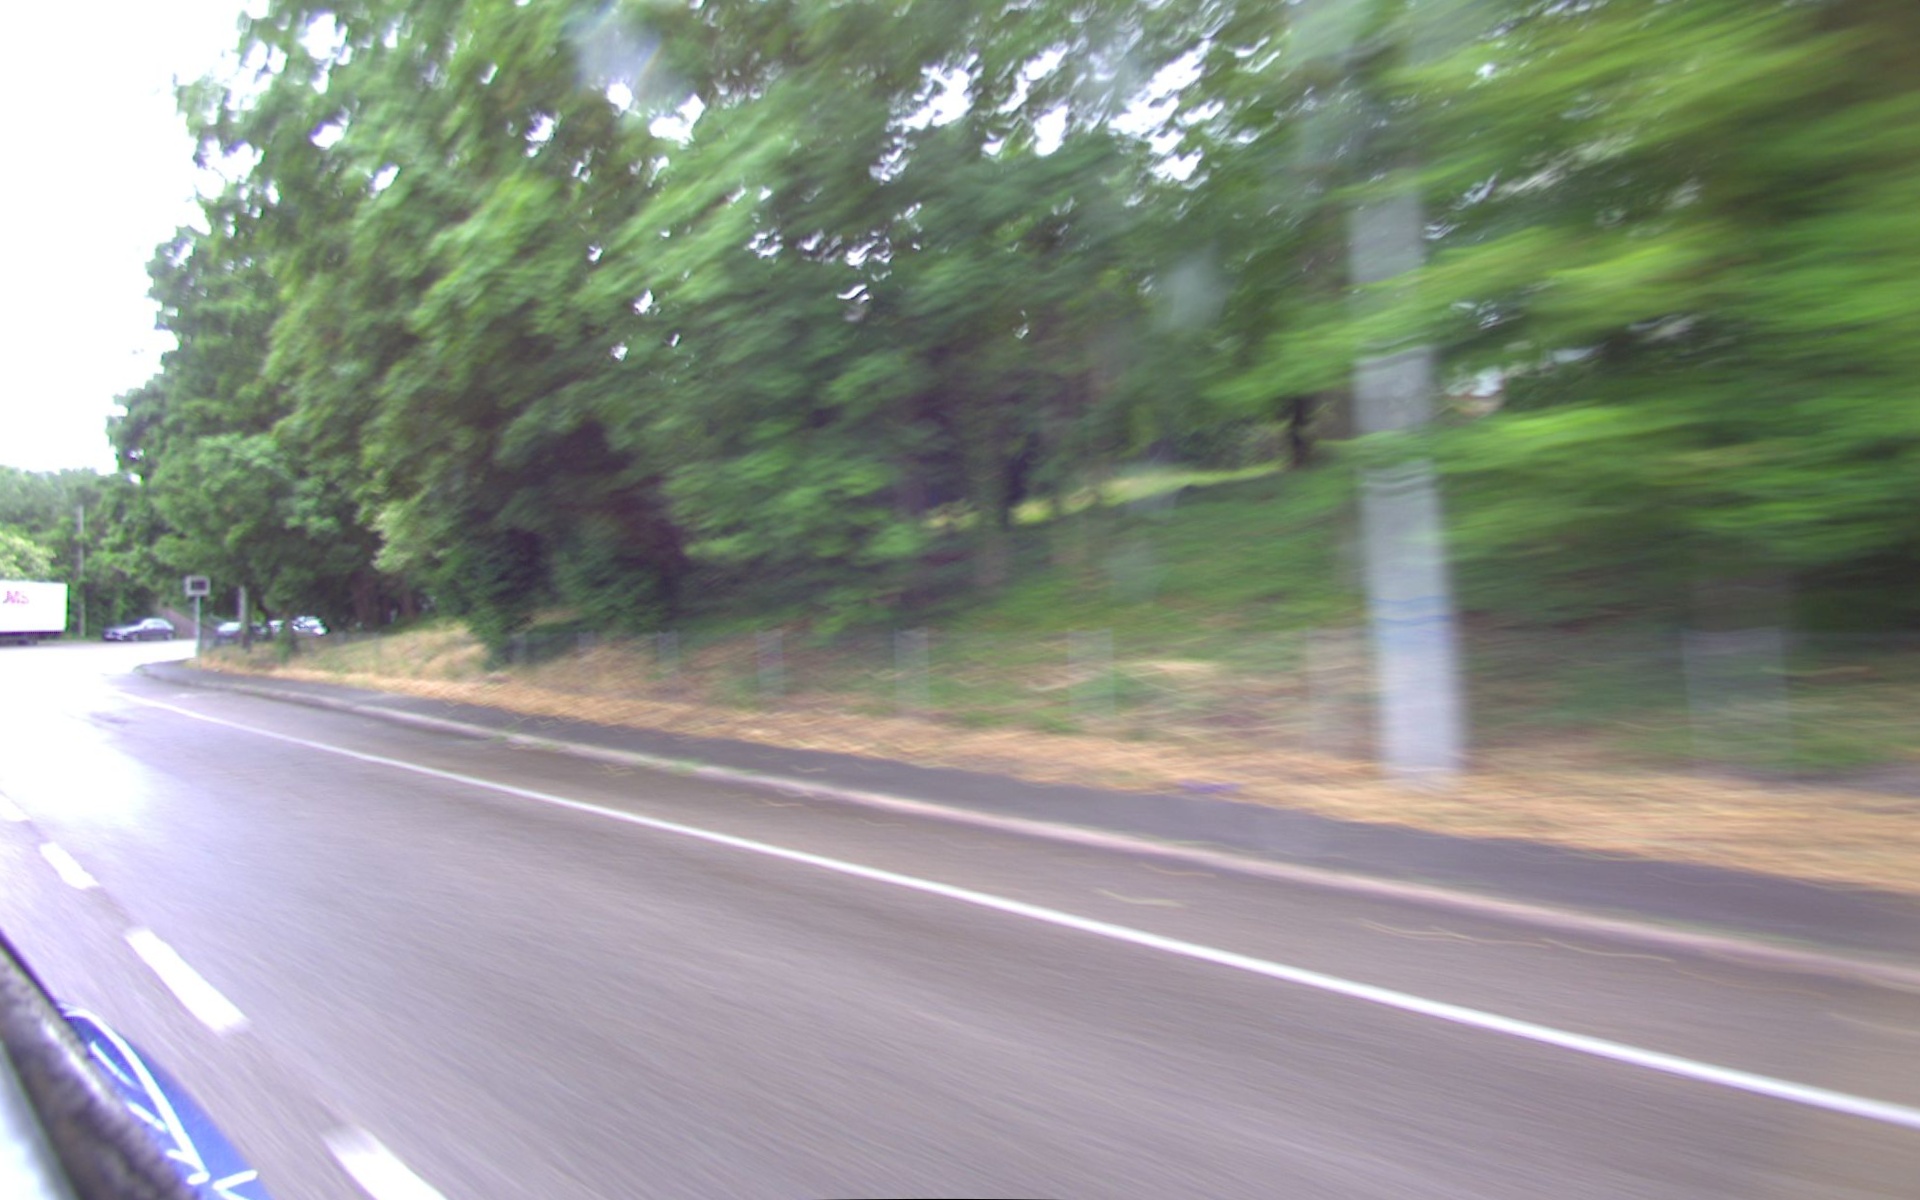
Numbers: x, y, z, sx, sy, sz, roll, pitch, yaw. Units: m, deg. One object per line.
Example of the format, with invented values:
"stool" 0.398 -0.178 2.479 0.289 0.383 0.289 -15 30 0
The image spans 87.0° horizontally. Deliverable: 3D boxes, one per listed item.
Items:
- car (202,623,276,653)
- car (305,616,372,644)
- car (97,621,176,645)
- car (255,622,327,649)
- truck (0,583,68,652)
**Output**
"car" -39.355 2.050 55.350 1.750 1.454 4.024 0 0 -9
"car" -40.293 1.905 65.699 1.785 1.594 4.023 0 1 1
"car" -52.785 2.108 64.961 1.702 1.455 4.123 -1 -1 1
"car" -40.073 2.083 60.724 1.732 1.467 4.048 0 0 -1
"truck" -51.677 0.906 53.553 2.967 3.601 8.356 0 0 -11
